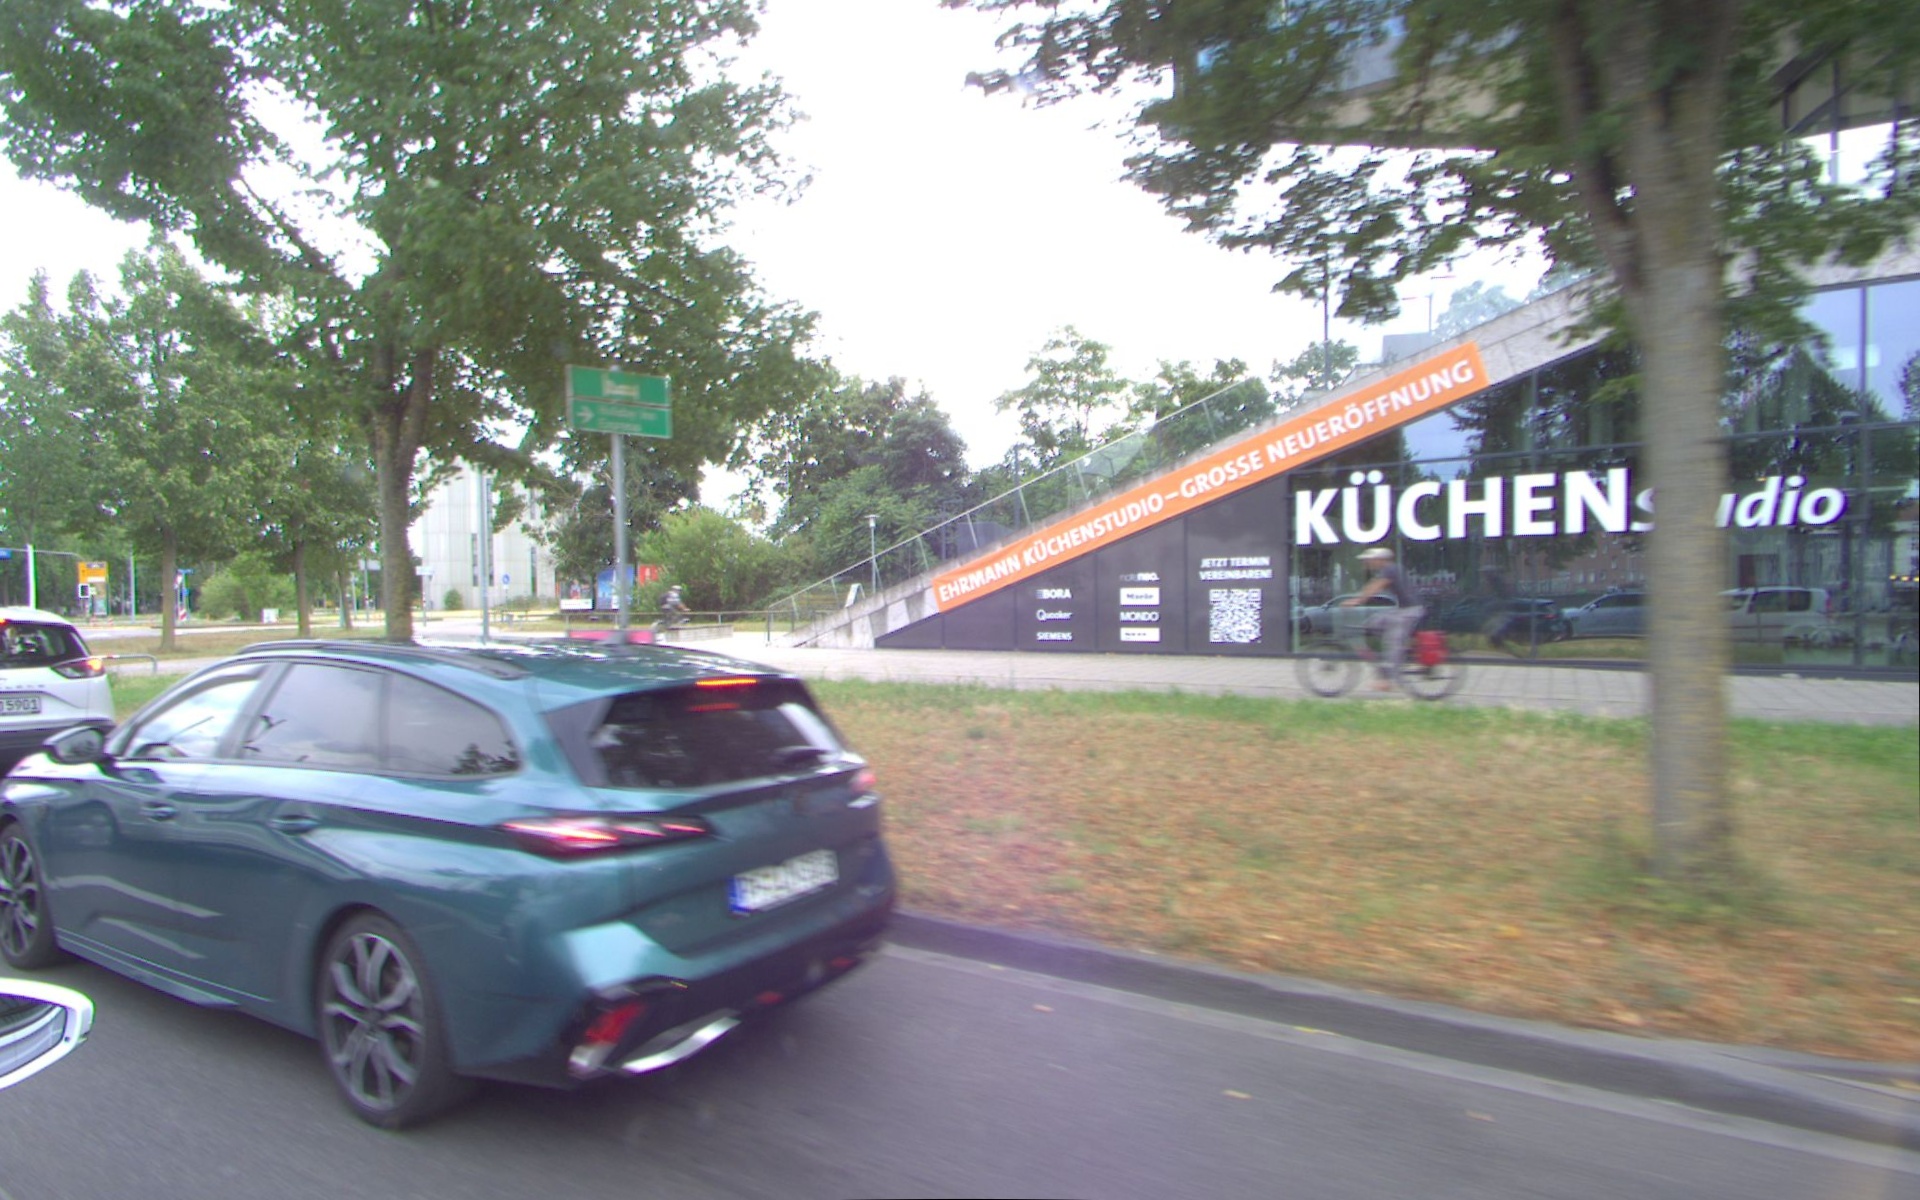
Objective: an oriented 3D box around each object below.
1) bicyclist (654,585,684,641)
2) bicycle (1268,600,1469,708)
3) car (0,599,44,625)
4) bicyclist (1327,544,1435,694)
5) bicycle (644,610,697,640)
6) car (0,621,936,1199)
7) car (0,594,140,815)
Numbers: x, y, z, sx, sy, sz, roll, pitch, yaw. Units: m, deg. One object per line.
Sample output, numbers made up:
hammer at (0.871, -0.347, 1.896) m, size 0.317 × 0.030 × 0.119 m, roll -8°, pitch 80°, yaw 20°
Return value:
bicyclist at (-10.179, 0.452, 35.018) m, size 0.724 × 1.911 × 0.727 m, roll 0°, pitch 1°, yaw 32°
bicycle at (5.115, 0.629, 12.589) m, size 2.234 × 1.251 × 0.900 m, roll 0°, pitch 1°, yaw 31°
car at (-62.061, 0.786, 66.236) m, size 4.352 × 1.658 × 1.774 m, roll 0°, pitch 0°, yaw 42°
bicyclist at (5.251, 0.206, 12.469) m, size 1.112 × 1.761 × 0.994 m, roll 0°, pitch 4°, yaw 31°
bicycle at (-10.143, 0.859, 35.148) m, size 0.556 × 0.997 × 1.930 m, roll 0°, pitch 0°, yaw 31°
car at (-2.377, 0.834, 4.311) m, size 4.245 × 1.450 × 1.786 m, roll 0°, pitch -1°, yaw 29°
car at (-8.816, 0.790, 8.481) m, size 3.854 × 1.646 × 1.783 m, roll 0°, pitch 0°, yaw 33°
